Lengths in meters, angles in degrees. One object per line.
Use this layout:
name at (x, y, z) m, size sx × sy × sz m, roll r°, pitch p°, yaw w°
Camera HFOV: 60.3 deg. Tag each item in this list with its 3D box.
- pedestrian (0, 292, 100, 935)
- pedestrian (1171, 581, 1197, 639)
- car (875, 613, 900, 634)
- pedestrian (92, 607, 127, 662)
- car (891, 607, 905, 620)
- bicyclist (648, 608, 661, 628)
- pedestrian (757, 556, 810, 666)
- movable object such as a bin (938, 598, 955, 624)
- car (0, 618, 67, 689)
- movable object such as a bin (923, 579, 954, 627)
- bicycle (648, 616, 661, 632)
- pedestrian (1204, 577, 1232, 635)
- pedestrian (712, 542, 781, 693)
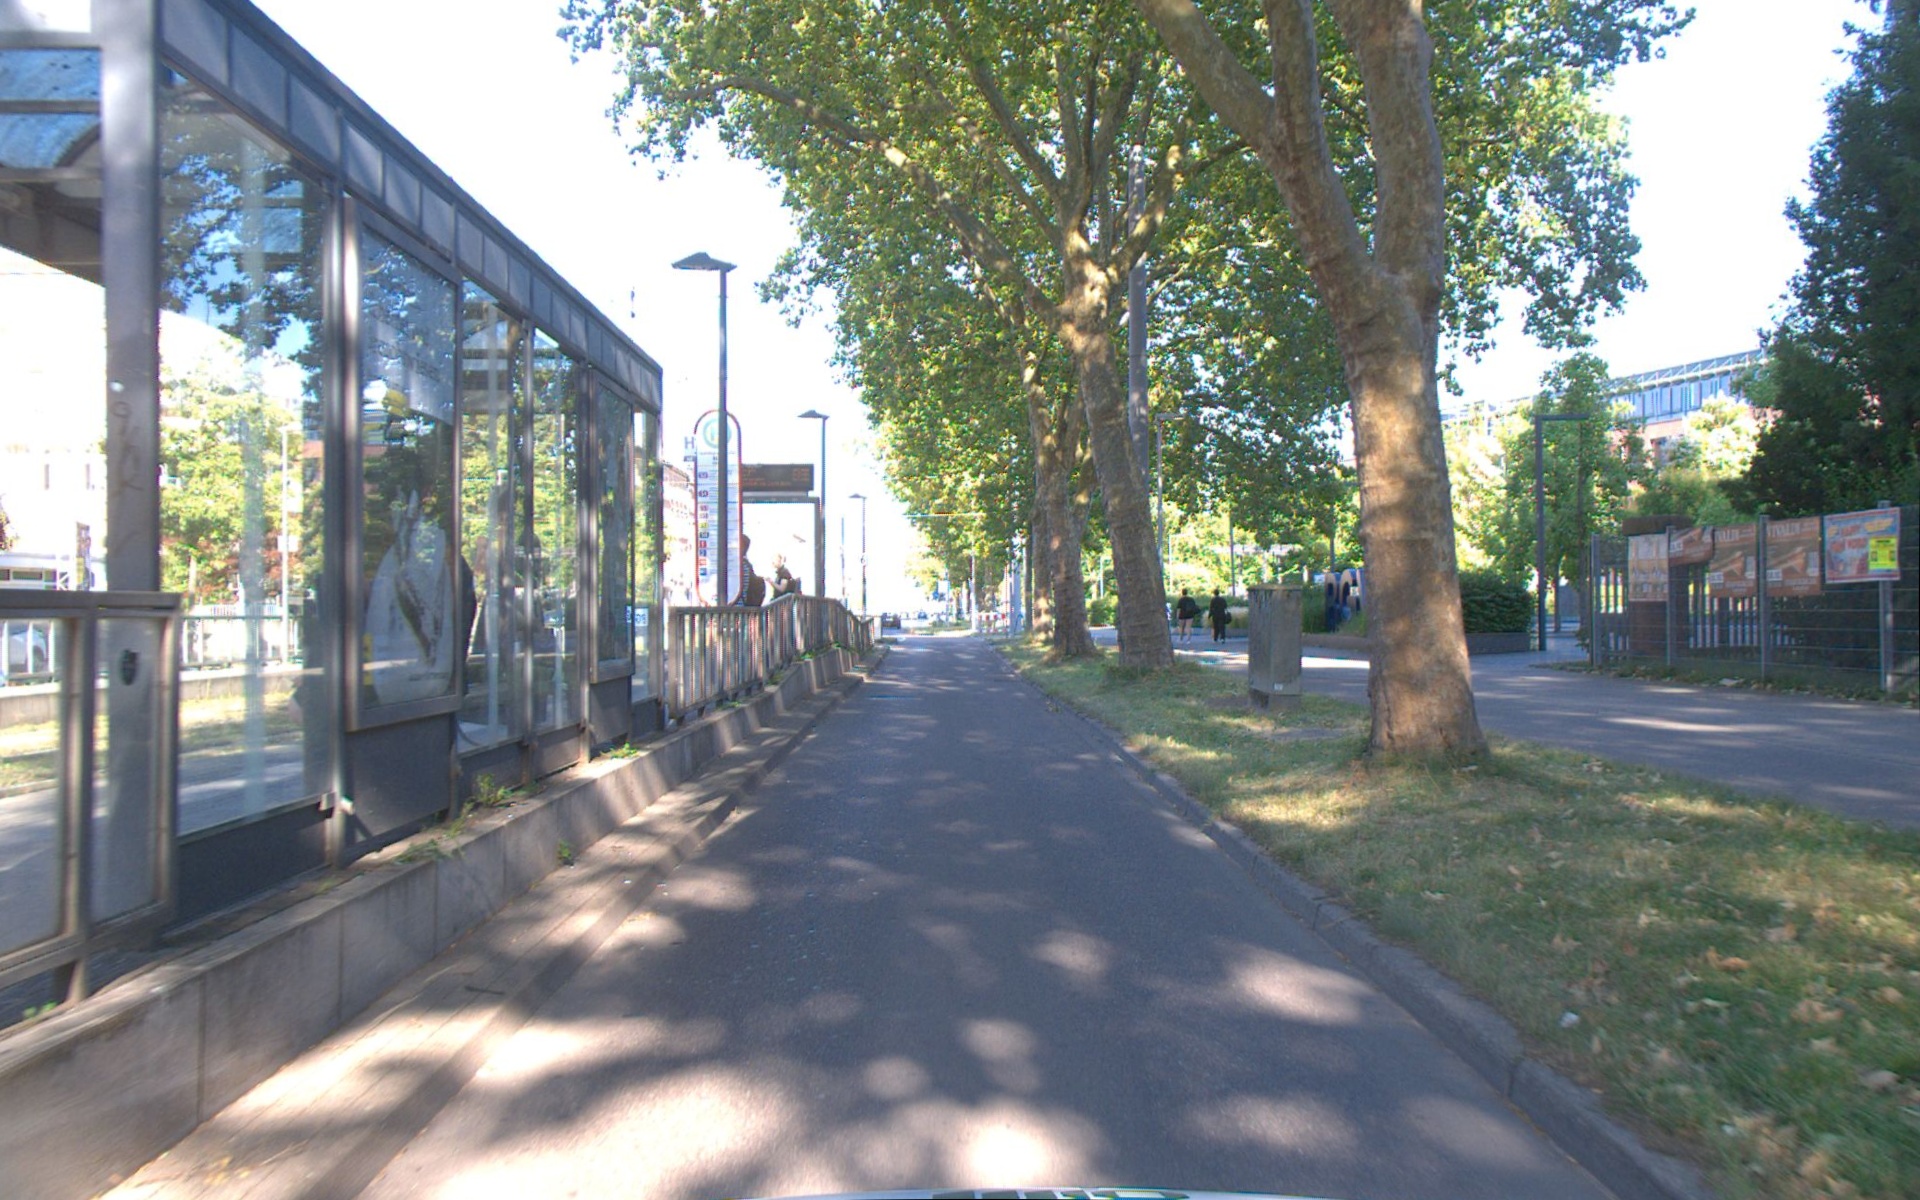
pedestrian at (-2.978, 0.029, 4.636) m, size 0.900 × 1.752 × 0.624 m, roll 2°, pitch -1°, yaw -35°
pedestrian at (6.640, 0.300, 48.978) m, size 0.615 × 1.685 × 0.739 m, roll -2°, pitch -1°, yaw -1°
car at (-6.072, 2.001, 139.266) m, size 1.953 × 1.713 × 3.999 m, roll 1°, pitch -1°, yaw -1°
pedestrian at (-26.599, 1.064, 51.750) m, size 0.710 × 1.676 × 0.811 m, roll -2°, pitch -1°, yaw -7°
car at (-9.808, 2.140, 261.563) m, size 1.956 × 1.892 × 3.993 m, roll 1°, pitch -1°, yaw -7°
bicyclist at (-23.974, 1.418, 129.892) m, size 0.759 × 1.507 × 1.133 m, roll 1°, pitch -1°, yaw -1°
pedestrian at (-2.839, 0.179, 26.660) m, size 0.741 × 1.720 × 0.678 m, roll 1°, pitch -1°, yaw -1°
movable object such as a bin at (-1.733, 1.409, 208.899) m, size 1.929 × 3.065 × 4.794 m, roll -3°, pitch -1°, yaw -2°
car at (-23.382, 1.265, 39.520) m, size 1.685 × 1.614 × 4.066 m, roll 1°, pitch -1°, yaw 3°
movable object such as a bin at (-2.459, 0.354, 186.728) m, size 3.025 × 5.177 × 8.888 m, roll -3°, pitch -1°, yaw -2°
bicycle at (-23.991, 1.902, 129.935) m, size 0.759 × 1.214 × 1.755 m, roll 1°, pitch -1°, yaw -1°
pedestrian at (7.630, 0.176, 48.988) m, size 0.636 × 1.685 × 0.783 m, roll -2°, pitch -1°, yaw -1°
pedestrian at (-2.488, 0.206, 19.370) m, size 0.665 × 1.720 × 0.894 m, roll 1°, pitch -1°, yaw -1°
